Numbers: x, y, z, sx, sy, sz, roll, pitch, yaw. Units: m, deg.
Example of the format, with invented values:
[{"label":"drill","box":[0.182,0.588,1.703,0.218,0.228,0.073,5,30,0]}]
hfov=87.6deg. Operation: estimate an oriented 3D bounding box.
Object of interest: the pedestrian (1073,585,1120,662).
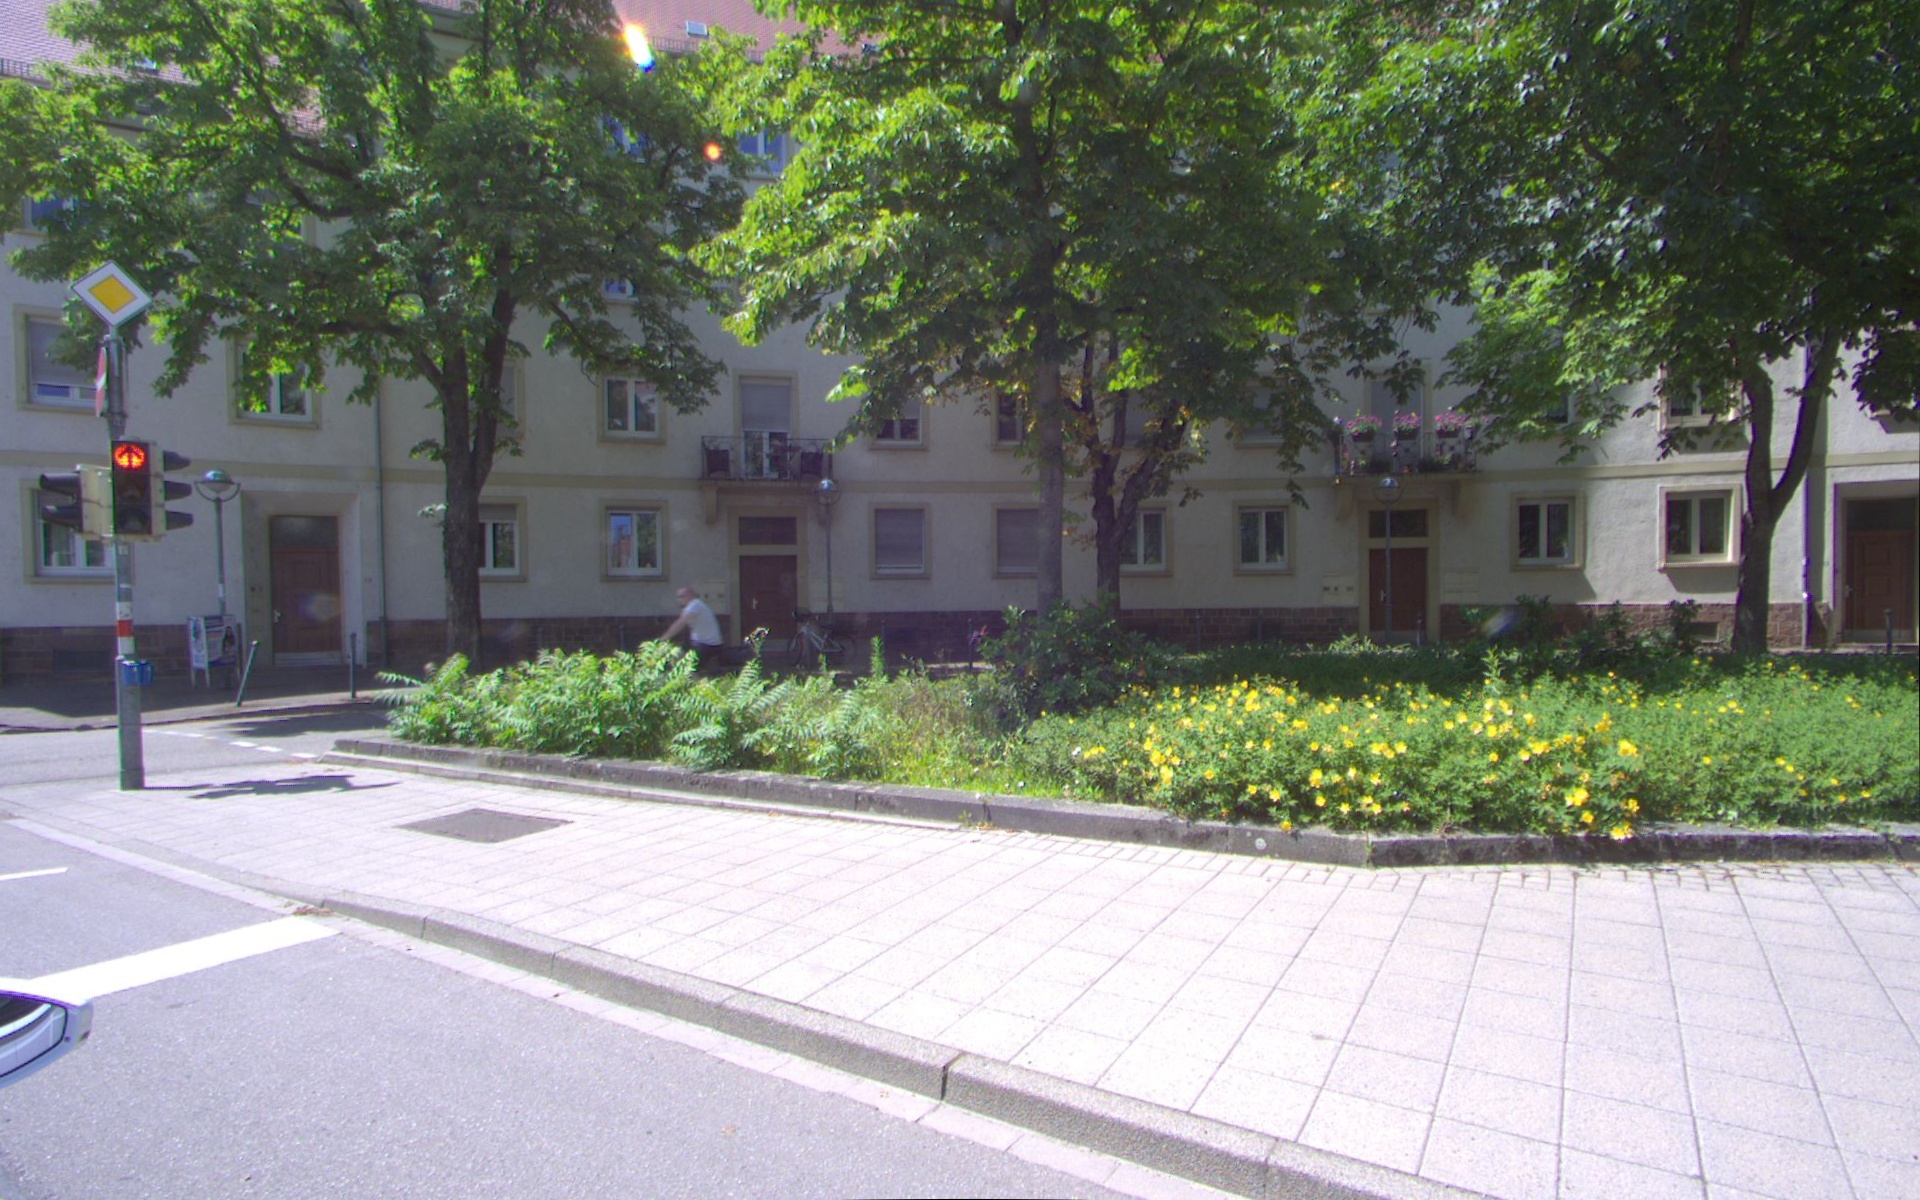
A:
[{"label":"pedestrian","box":[3.149,0.526,23.041,1.037,1.715,0.652,0,6,11]}]

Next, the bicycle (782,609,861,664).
[{"label":"bicycle","box":[-2.877,0.757,20.868,1.575,1.119,0.525,-1,1,-4]}]

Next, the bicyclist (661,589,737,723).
[{"label":"bicyclist","box":[-3.254,0.676,12.469,0.835,1.613,0.698,-1,0,-21]}]

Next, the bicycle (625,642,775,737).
[{"label":"bicycle","box":[-3.242,1.080,12.466,1.736,1.070,0.698,0,0,-21]}]
